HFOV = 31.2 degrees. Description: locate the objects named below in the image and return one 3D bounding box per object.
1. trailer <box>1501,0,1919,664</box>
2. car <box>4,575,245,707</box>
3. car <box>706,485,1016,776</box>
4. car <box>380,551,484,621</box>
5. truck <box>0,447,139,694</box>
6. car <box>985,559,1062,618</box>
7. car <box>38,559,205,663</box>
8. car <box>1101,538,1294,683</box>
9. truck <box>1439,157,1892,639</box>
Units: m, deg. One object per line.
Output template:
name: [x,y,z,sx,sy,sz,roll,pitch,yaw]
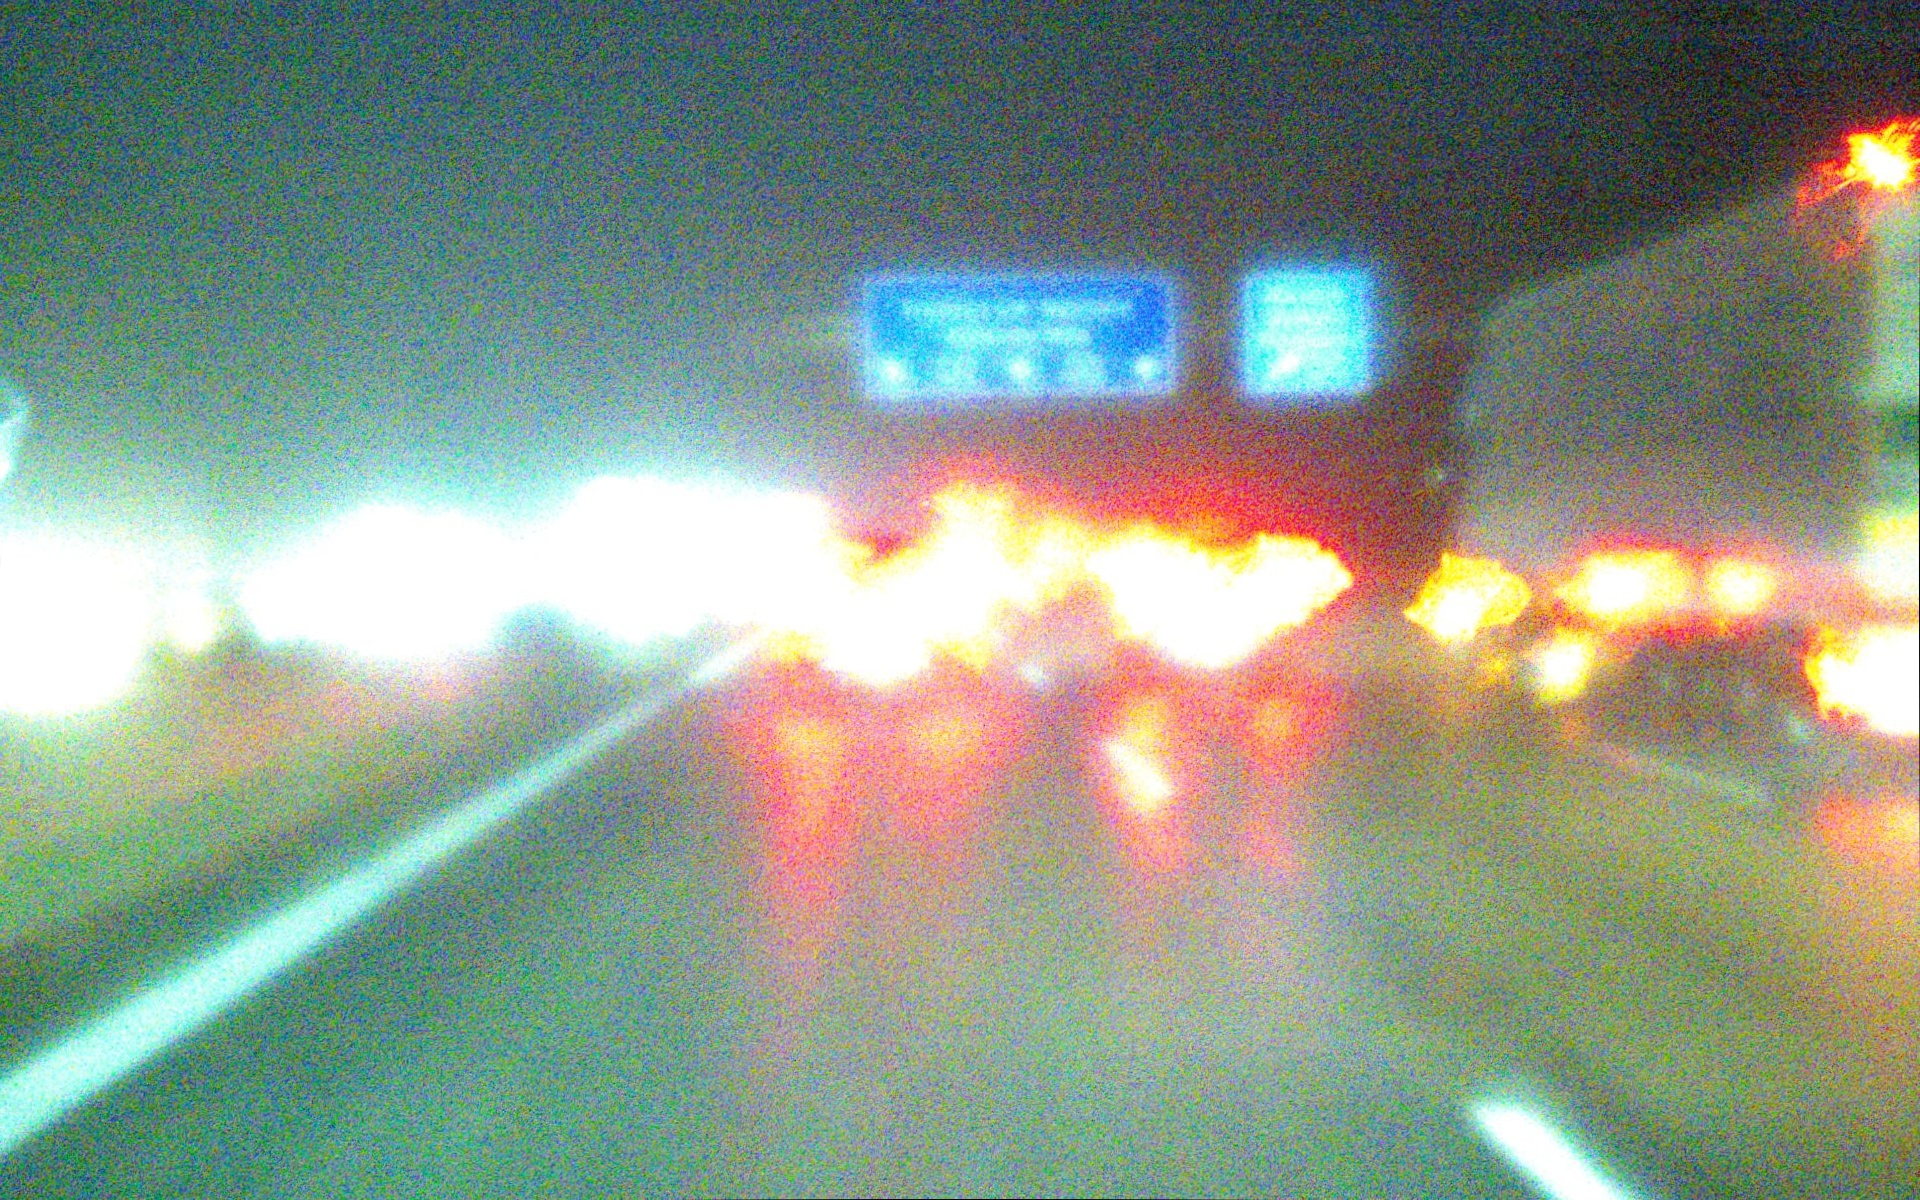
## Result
trailer: [6.840,-1.786,27.699,2.803,4.198,12.098,0,1,-1]
car: [-9.618,0.434,39.881,1.754,1.357,4.116,-1,1,0]
car: [-1.008,0.208,33.887,2.709,2.525,5.832,-2,1,-2]
car: [-14.123,-0.391,92.183,2.062,1.817,4.880,1,1,-1]
truck: [-18.267,-0.514,64.546,2.930,4.312,11.436,-2,1,-1]
car: [1.816,-0.348,99.476,2.137,1.612,4.000,1,1,0]
car: [-13.371,0.142,55.047,1.754,1.520,4.116,-1,1,-2]
car: [2.705,0.082,39.973,1.884,1.583,4.000,1,1,-1]
truck: [6.790,-1.850,34.282,2.803,4.252,7.448,0,1,-1]
